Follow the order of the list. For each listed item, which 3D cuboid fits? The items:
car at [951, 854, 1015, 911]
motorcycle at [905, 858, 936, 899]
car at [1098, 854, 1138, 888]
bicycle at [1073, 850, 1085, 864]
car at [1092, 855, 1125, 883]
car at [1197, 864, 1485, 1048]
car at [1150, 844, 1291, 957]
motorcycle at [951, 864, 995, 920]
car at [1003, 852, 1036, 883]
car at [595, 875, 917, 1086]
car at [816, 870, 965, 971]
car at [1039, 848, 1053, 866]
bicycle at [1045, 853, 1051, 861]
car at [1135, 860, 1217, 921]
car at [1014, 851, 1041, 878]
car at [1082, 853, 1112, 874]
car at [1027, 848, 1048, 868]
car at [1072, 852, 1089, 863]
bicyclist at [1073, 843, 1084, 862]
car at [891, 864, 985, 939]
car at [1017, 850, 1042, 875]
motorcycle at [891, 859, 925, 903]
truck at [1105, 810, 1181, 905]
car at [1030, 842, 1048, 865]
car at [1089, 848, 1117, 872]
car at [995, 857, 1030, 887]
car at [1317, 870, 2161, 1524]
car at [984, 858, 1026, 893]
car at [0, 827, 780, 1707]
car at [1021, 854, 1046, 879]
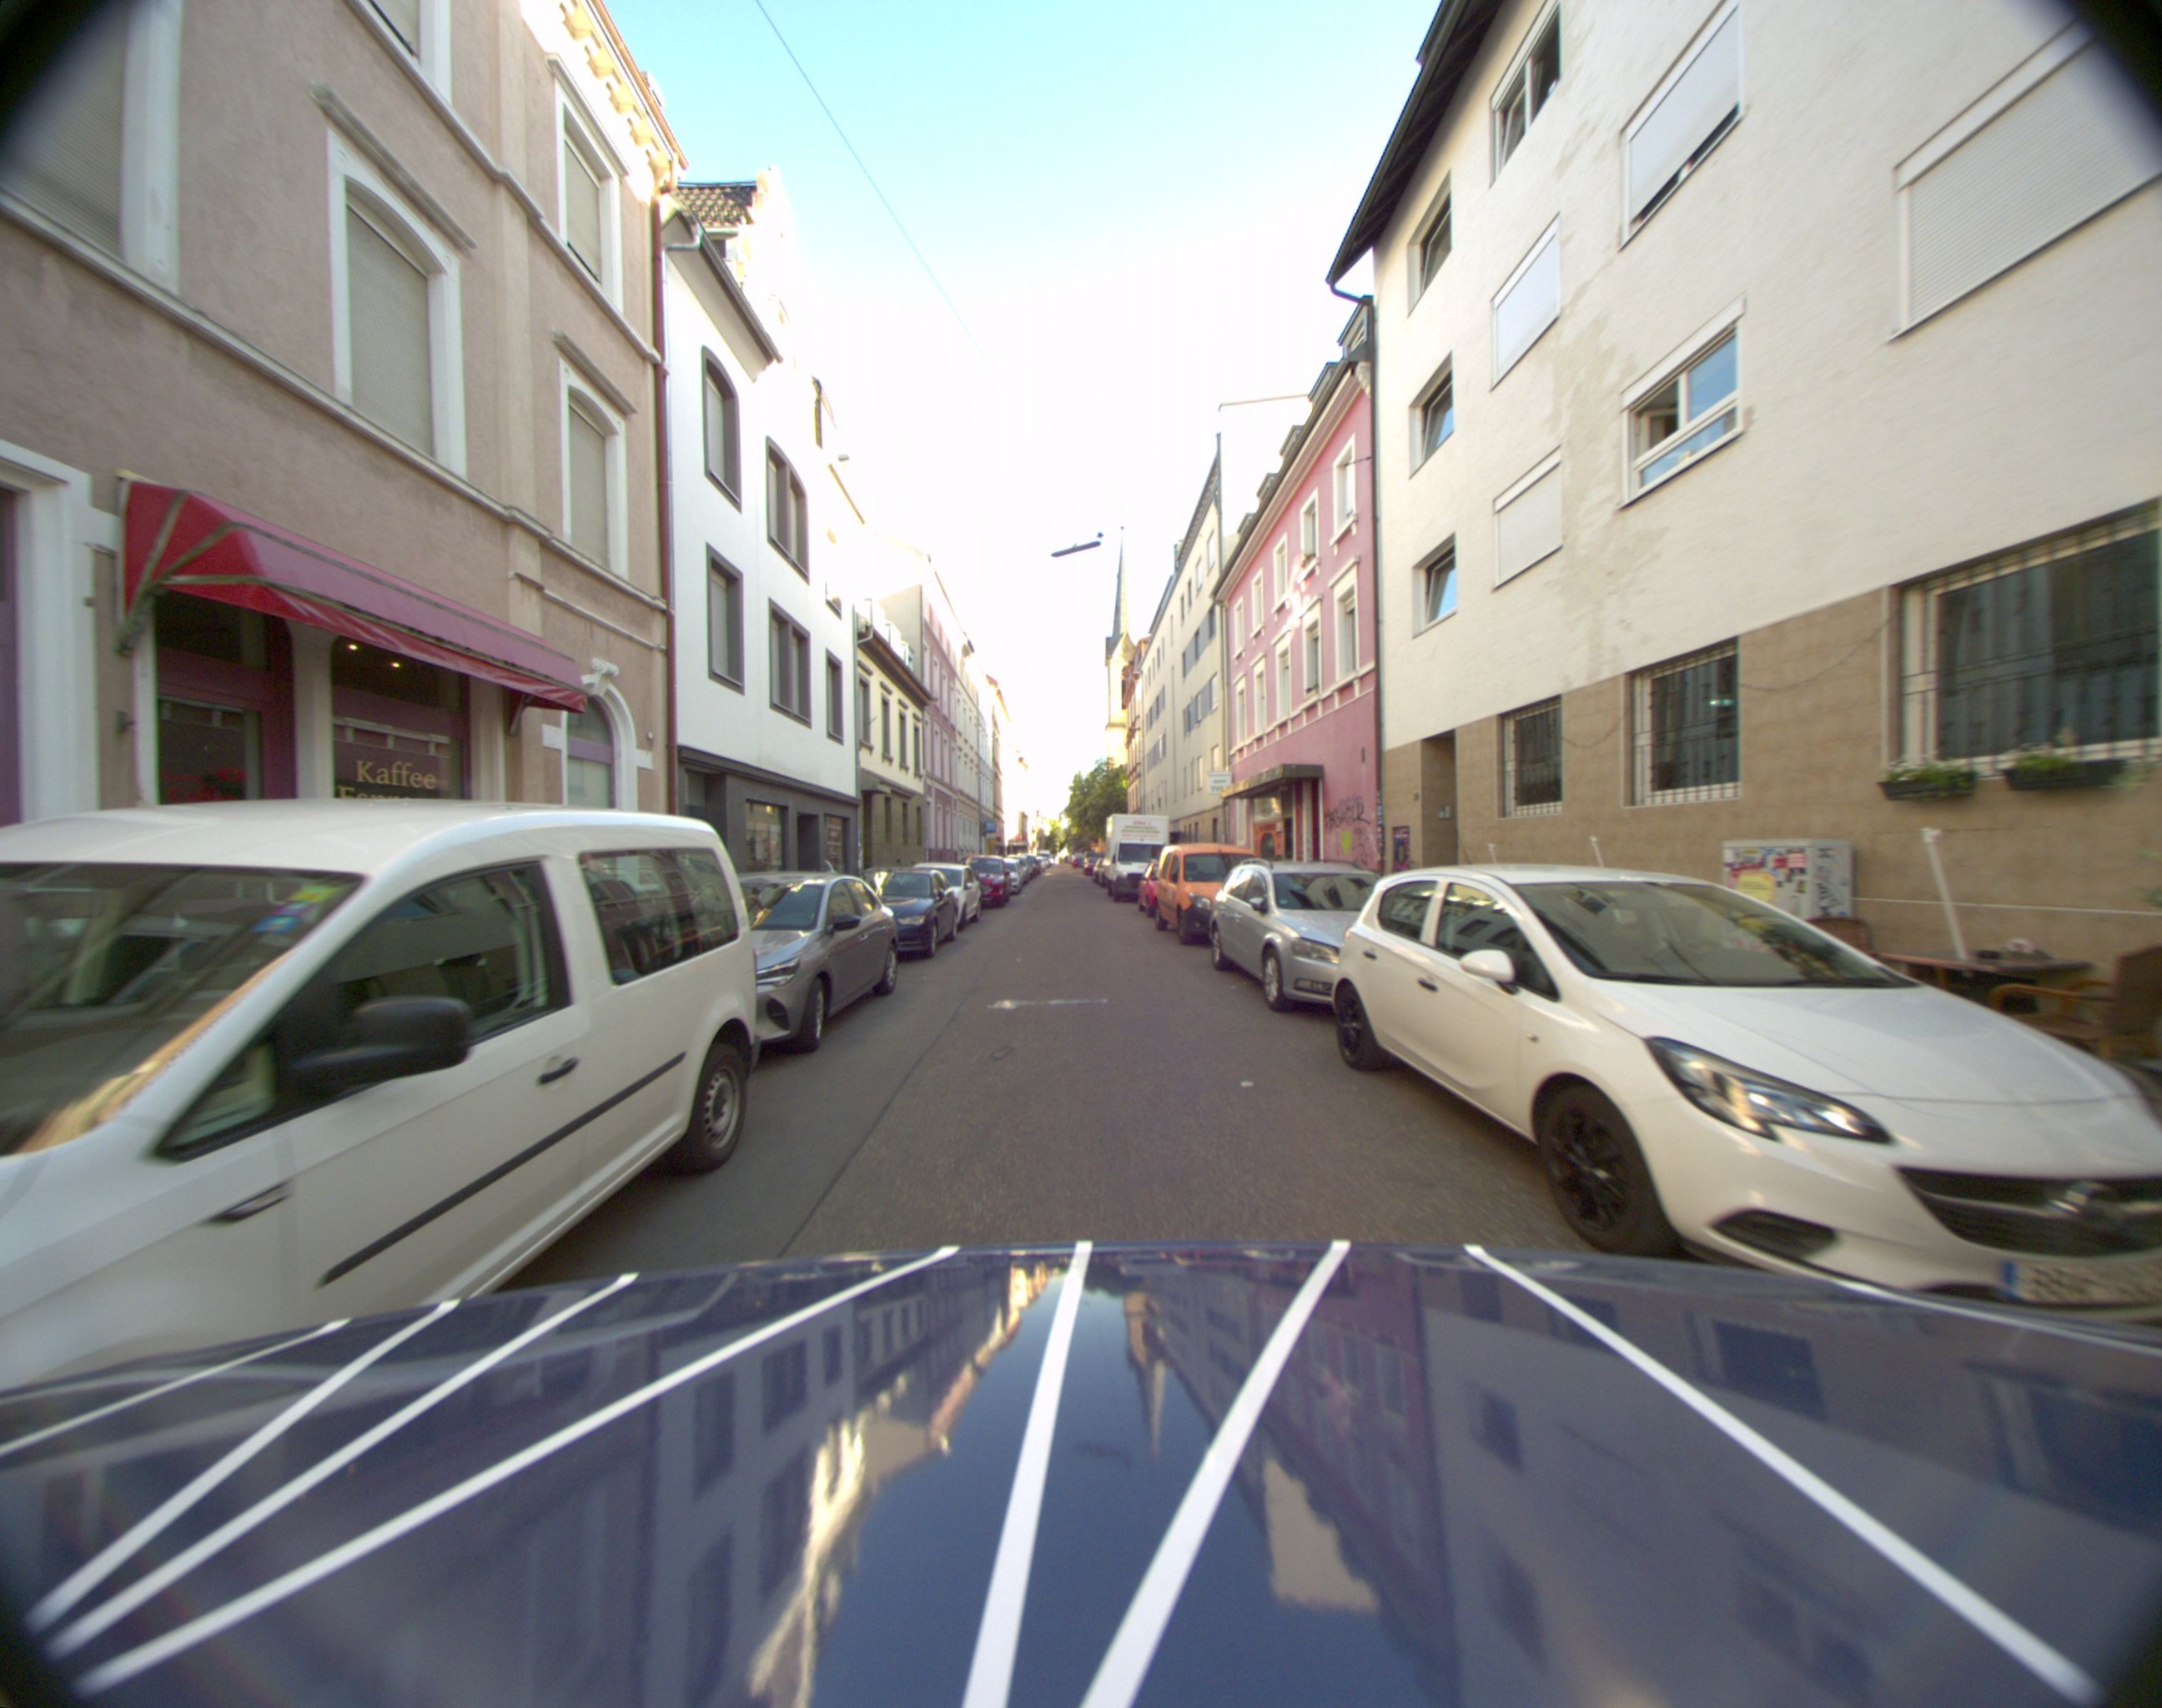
[{"bbox_3d":[-3.267,0.904,26.043,1.714,1.721,4.406,0,1,-2],"label":"car"},{"bbox_3d":[-5.937,0.879,28.229,0.697,1.388,2.037,-2,1,-2],"label":"motorcycle"},{"bbox_3d":[1.857,0.836,39.164,1.687,1.579,3.913,2,0,-2],"label":"car"},{"bbox_3d":[-0.267,0.386,94.978,1.020,1.641,3.545,-2,1,-6],"label":"bicycle"},{"bbox_3d":[1.582,0.856,45.334,1.687,1.482,3.913,2,0,-2],"label":"car"},{"bbox_3d":[2.607,0.922,8.859,1.678,1.488,4.529,0,1,-2],"label":"car"},{"bbox_3d":[2.481,0.743,14.549,1.807,1.834,4.243,0,1,-2],"label":"car"},{"bbox_3d":[-3.075,1.063,21.897,0.990,1.481,2.267,0,1,-2],"label":"motorcycle"},{"bbox_3d":[-3.655,0.770,45.561,1.714,1.721,4.219,0,1,-2],"label":"car"},{"bbox_3d":[-2.803,0.989,7.524,1.613,1.400,3.880,0,1,-2],"label":"car"},{"bbox_3d":[-3.152,1.038,13.314,1.736,1.387,3.880,0,1,-2],"label":"car"},{"bbox_3d":[-5.613,0.381,122.618,1.999,2.777,4.561,-2,1,-5],"label":"car"},{"bbox_3d":[-4.661,0.405,105.896,0.729,1.173,2.488,-2,1,-4],"label":"bicycle"},{"bbox_3d":[2.479,0.912,20.622,1.687,1.458,3.659,0,1,-2],"label":"car"},{"bbox_3d":[-3.648,0.700,52.327,1.714,1.721,4.219,0,1,-2],"label":"car"},{"bbox_3d":[1.253,0.722,61.560,1.927,1.522,4.561,-2,1,-5],"label":"car"},{"bbox_3d":[-4.523,0.410,79.142,1.999,2.002,4.561,-2,1,-5],"label":"car"},{"bbox_3d":[-0.094,0.457,106.495,1.927,1.522,4.561,-2,1,-5],"label":"car"},{"bbox_3d":[-0.319,-0.181,94.885,1.020,2.280,1.531,-2,1,-6],"label":"bicyclist"},{"bbox_3d":[-3.262,1.032,17.978,1.620,1.495,3.771,0,1,-2],"label":"car"},{"bbox_3d":[-3.861,0.635,57.623,1.714,1.802,4.219,0,1,-2],"label":"car"},{"bbox_3d":[-5.898,0.901,26.003,0.667,1.388,2.037,-2,1,-2],"label":"motorcycle"},{"bbox_3d":[2.181,0.069,28.871,2.297,3.165,7.043,0,1,0],"label":"truck"},{"bbox_3d":[-5.362,-0.110,96.562,1.999,2.777,4.561,-2,1,-5],"label":"car"},{"bbox_3d":[1.918,0.463,67.746,1.999,2.002,4.561,-2,1,-5],"label":"car"},{"bbox_3d":[-3.575,0.892,40.203,1.613,1.444,3.880,0,1,-2],"label":"car"},{"bbox_3d":[2.686,0.918,3.849,1.681,1.546,3.817,0,1,-2],"label":"car"},{"bbox_3d":[-3.331,0.921,33.946,1.613,1.387,3.880,0,1,-2],"label":"car"},{"bbox_3d":[-2.608,0.842,2.312,1.753,1.806,4.368,0,1,-2],"label":"car"},{"bbox_3d":[-4.147,1.059,66.394,1.999,2.002,4.562,-2,1,-4],"label":"car"}]
